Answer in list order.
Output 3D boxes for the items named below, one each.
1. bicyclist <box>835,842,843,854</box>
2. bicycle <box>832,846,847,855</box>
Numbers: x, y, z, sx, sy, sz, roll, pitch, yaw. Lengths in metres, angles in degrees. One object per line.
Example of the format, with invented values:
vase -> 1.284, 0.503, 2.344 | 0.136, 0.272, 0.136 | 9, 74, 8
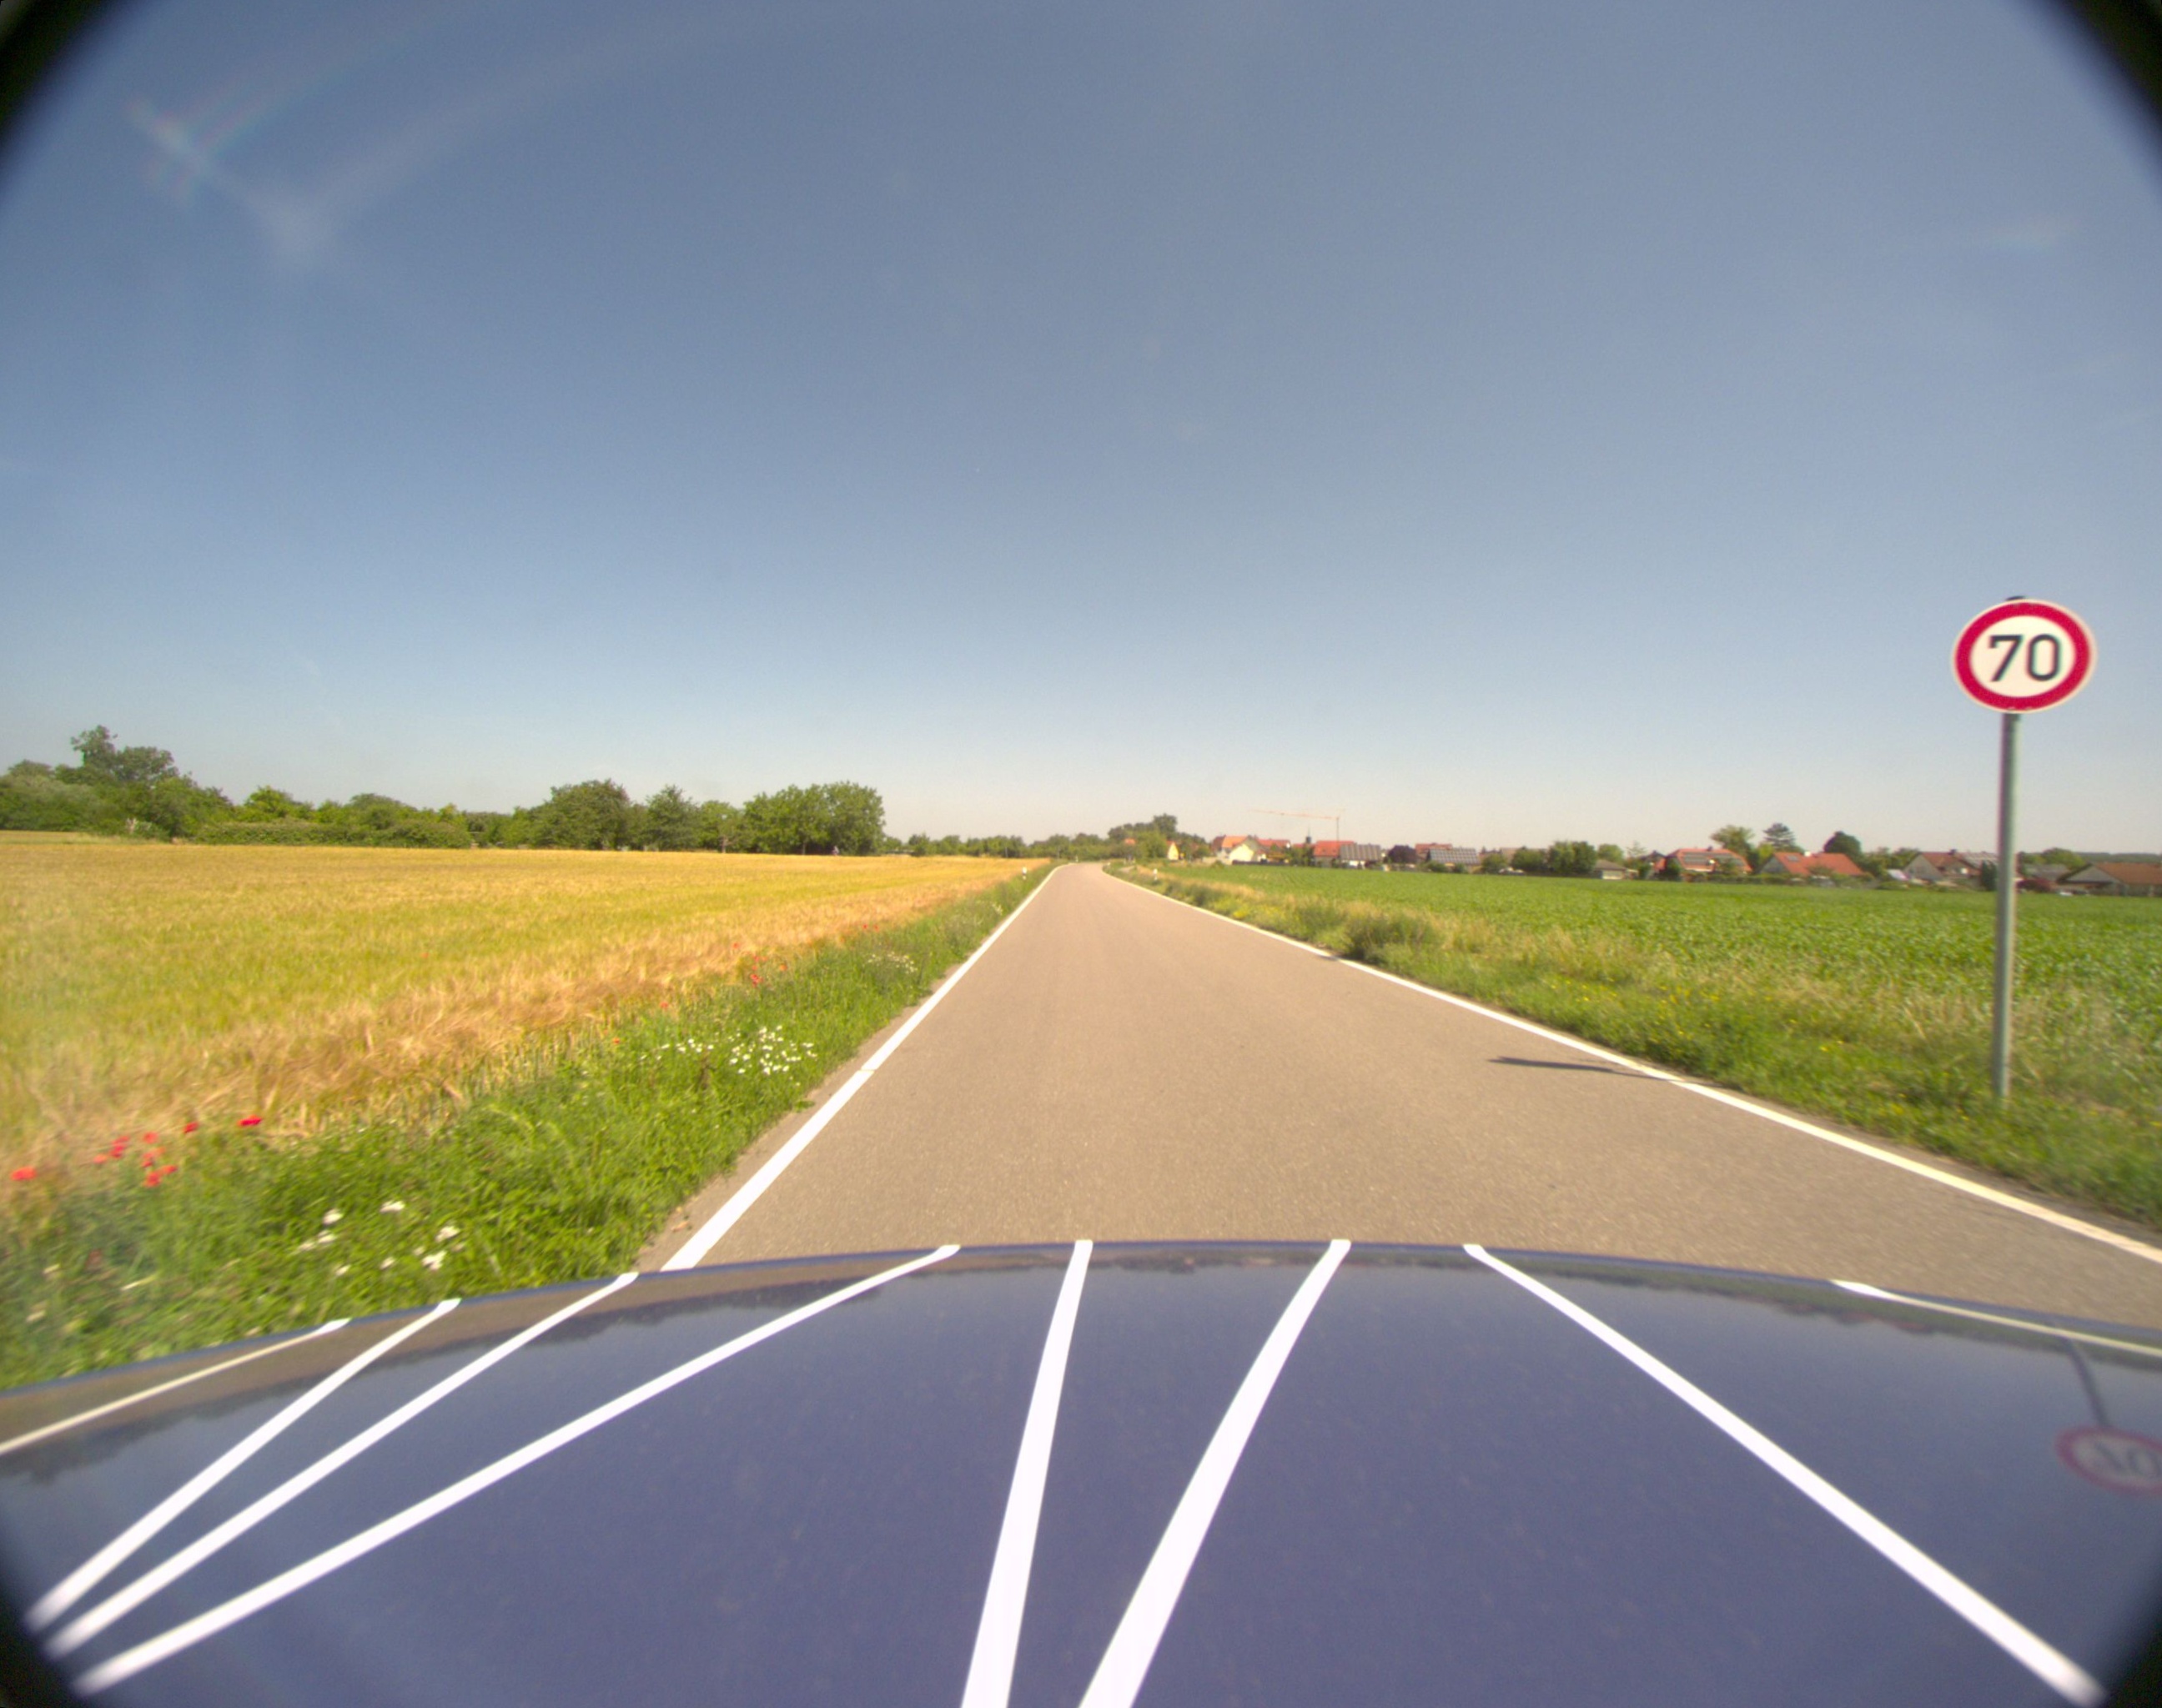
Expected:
bicyclist -> -31.329, -0.795, 98.468 | 0.737, 1.565, 0.673 | 1, 1, -35
bicycle -> -31.342, -0.419, 98.474 | 1.773, 1.109, 0.520 | 1, 1, -35
